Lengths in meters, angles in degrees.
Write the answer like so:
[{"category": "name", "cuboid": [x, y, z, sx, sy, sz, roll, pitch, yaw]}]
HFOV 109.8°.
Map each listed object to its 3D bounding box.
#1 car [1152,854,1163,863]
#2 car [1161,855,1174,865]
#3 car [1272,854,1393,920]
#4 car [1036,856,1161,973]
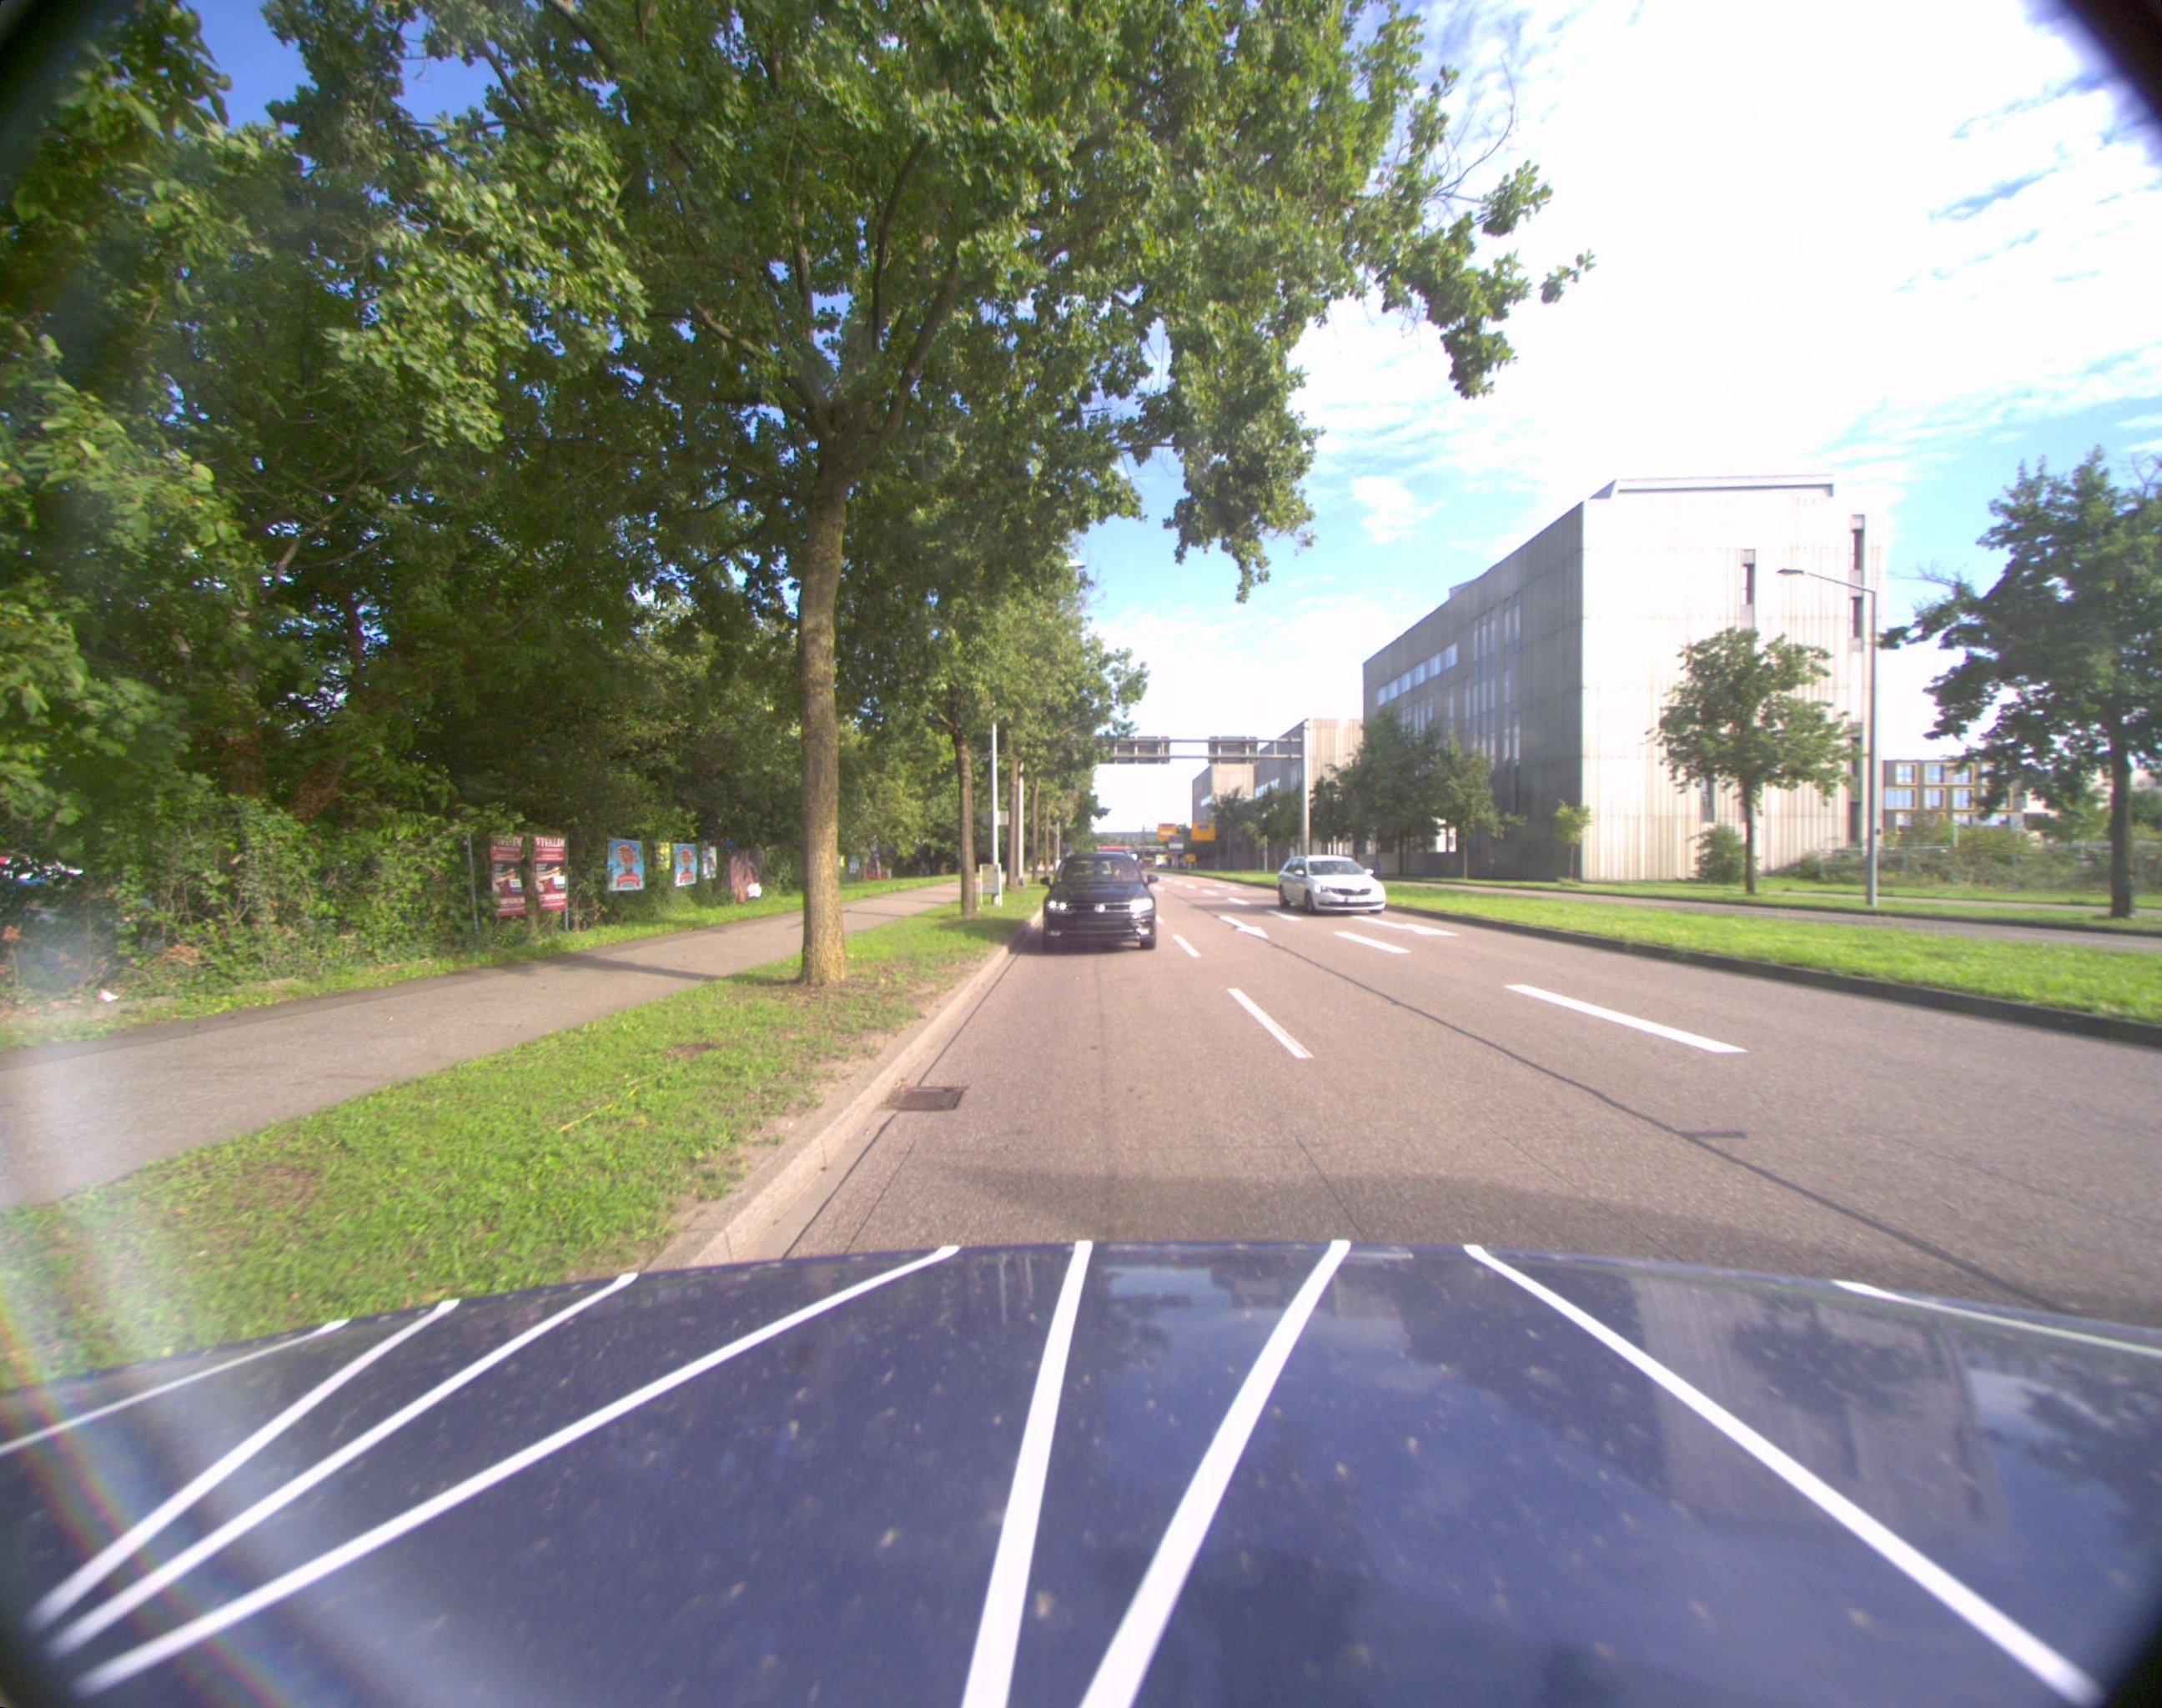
[{"category": "car", "cuboid": [16.858, 1.069, 167.916, 1.998, 2.002, 3.983, 0, 0, 0]}, {"category": "car", "cuboid": [17.359, 1.265, 152.661, 1.998, 2.002, 4.000, 0, 0, 0]}, {"category": "car", "cuboid": [6.418, 0.769, 19.906, 1.702, 1.489, 4.481, -1, 0, 1]}, {"category": "car", "cuboid": [0.312, 0.891, 12.992, 1.775, 1.637, 3.869, -2, 0, 2]}]
